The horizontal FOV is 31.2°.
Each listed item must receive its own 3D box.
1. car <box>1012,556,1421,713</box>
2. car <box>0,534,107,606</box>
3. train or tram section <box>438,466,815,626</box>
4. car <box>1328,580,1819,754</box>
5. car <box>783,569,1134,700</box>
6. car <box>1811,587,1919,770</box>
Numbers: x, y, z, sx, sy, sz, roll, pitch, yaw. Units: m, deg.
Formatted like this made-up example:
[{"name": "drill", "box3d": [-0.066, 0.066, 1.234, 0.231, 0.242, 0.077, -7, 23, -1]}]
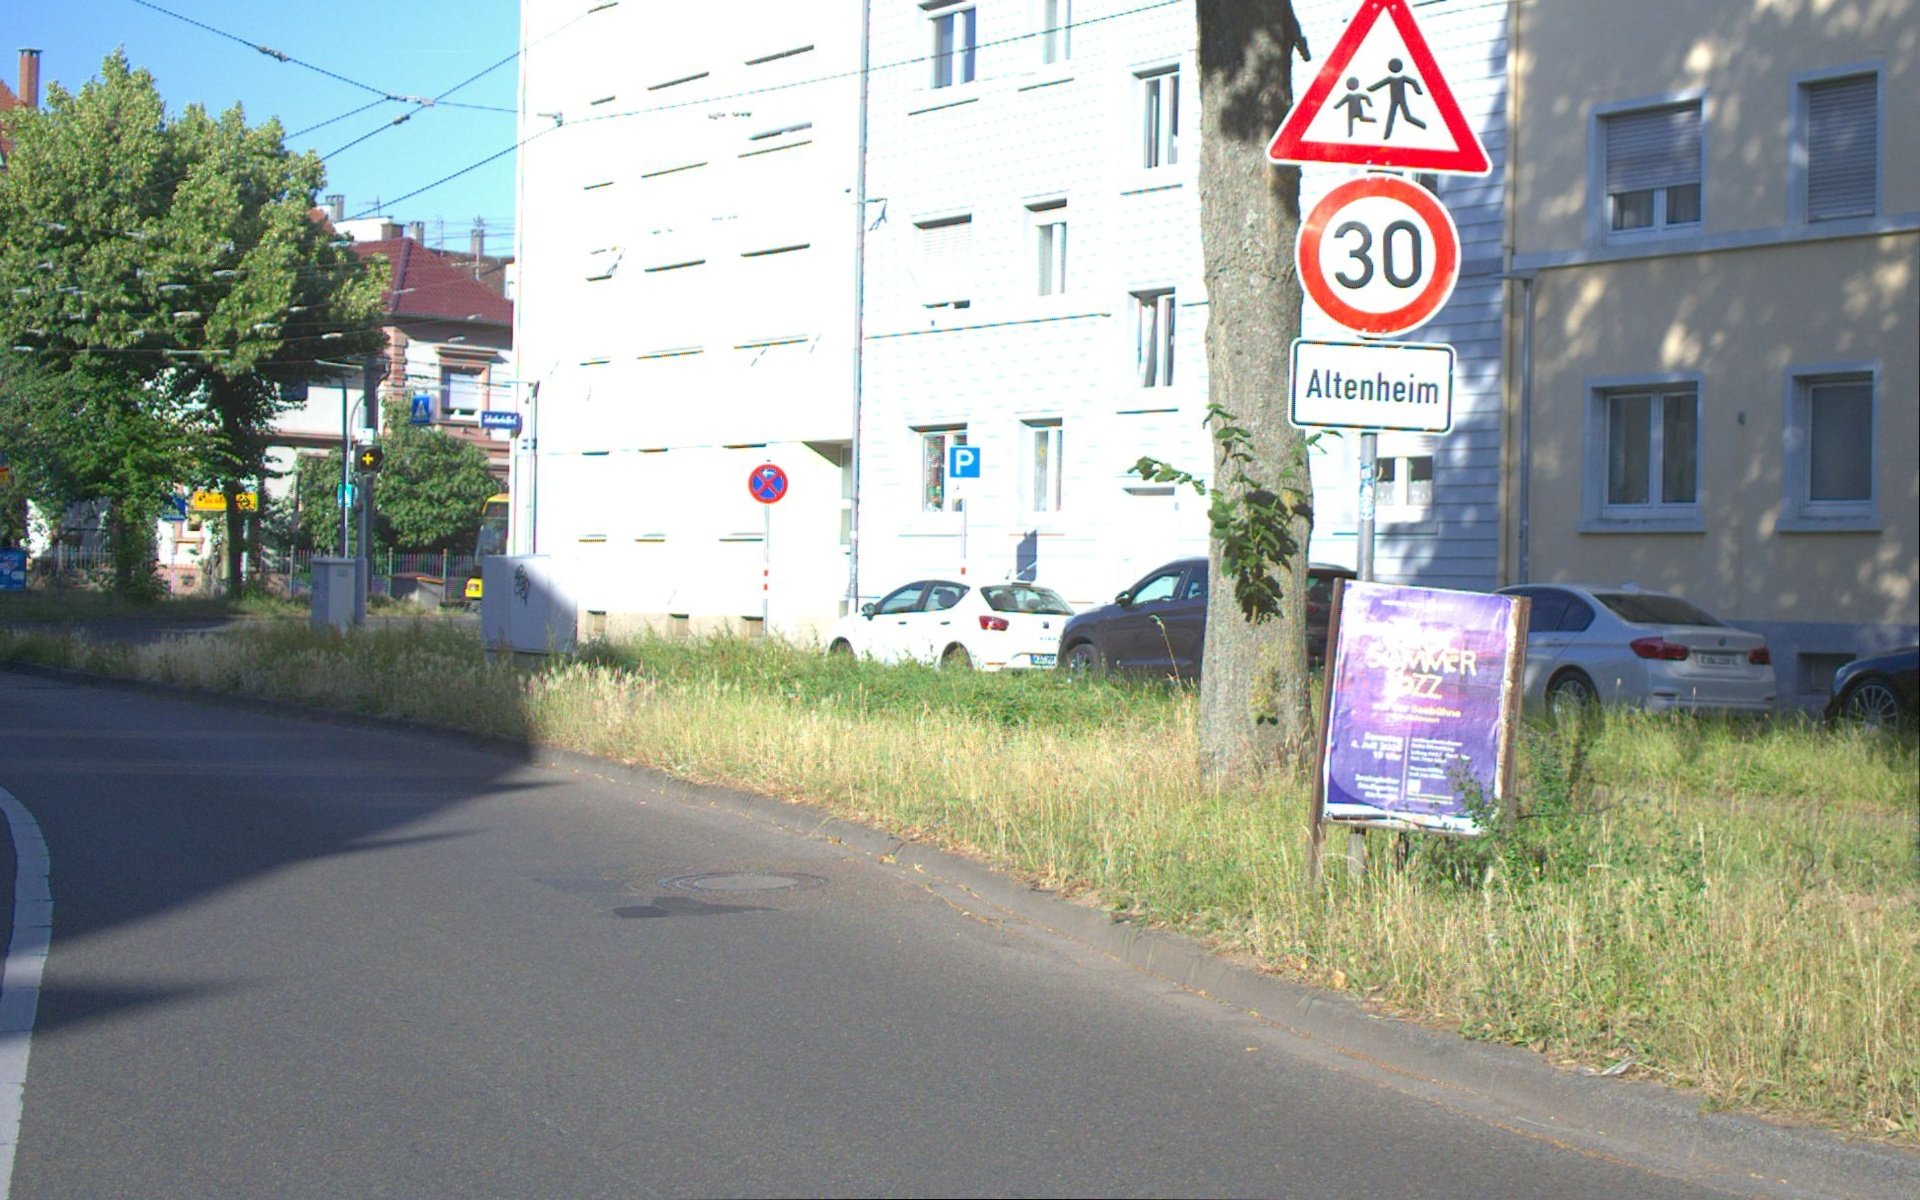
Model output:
[{"name": "car", "box3d": [2.661, 0.321, 36.805, 1.993, 1.567, 4.641, 0, 0, -32]}, {"name": "car", "box3d": [-20.043, -0.672, 74.256, 1.959, 1.500, 3.684, 0, 1, 7]}, {"name": "train or tram section", "box3d": [-7.684, -1.201, 80.962, 2.781, 3.543, 9.898, 2, 1, 37]}, {"name": "car", "box3d": [5.600, 0.567, 31.921, 1.993, 1.381, 4.446, 0, 2, -32]}, {"name": "car", "box3d": [-0.080, 0.379, 41.299, 1.994, 1.381, 4.446, 0, 2, -35]}, {"name": "car", "box3d": [8.833, 0.651, 26.070, 1.993, 1.381, 4.446, 0, 2, -32]}]
